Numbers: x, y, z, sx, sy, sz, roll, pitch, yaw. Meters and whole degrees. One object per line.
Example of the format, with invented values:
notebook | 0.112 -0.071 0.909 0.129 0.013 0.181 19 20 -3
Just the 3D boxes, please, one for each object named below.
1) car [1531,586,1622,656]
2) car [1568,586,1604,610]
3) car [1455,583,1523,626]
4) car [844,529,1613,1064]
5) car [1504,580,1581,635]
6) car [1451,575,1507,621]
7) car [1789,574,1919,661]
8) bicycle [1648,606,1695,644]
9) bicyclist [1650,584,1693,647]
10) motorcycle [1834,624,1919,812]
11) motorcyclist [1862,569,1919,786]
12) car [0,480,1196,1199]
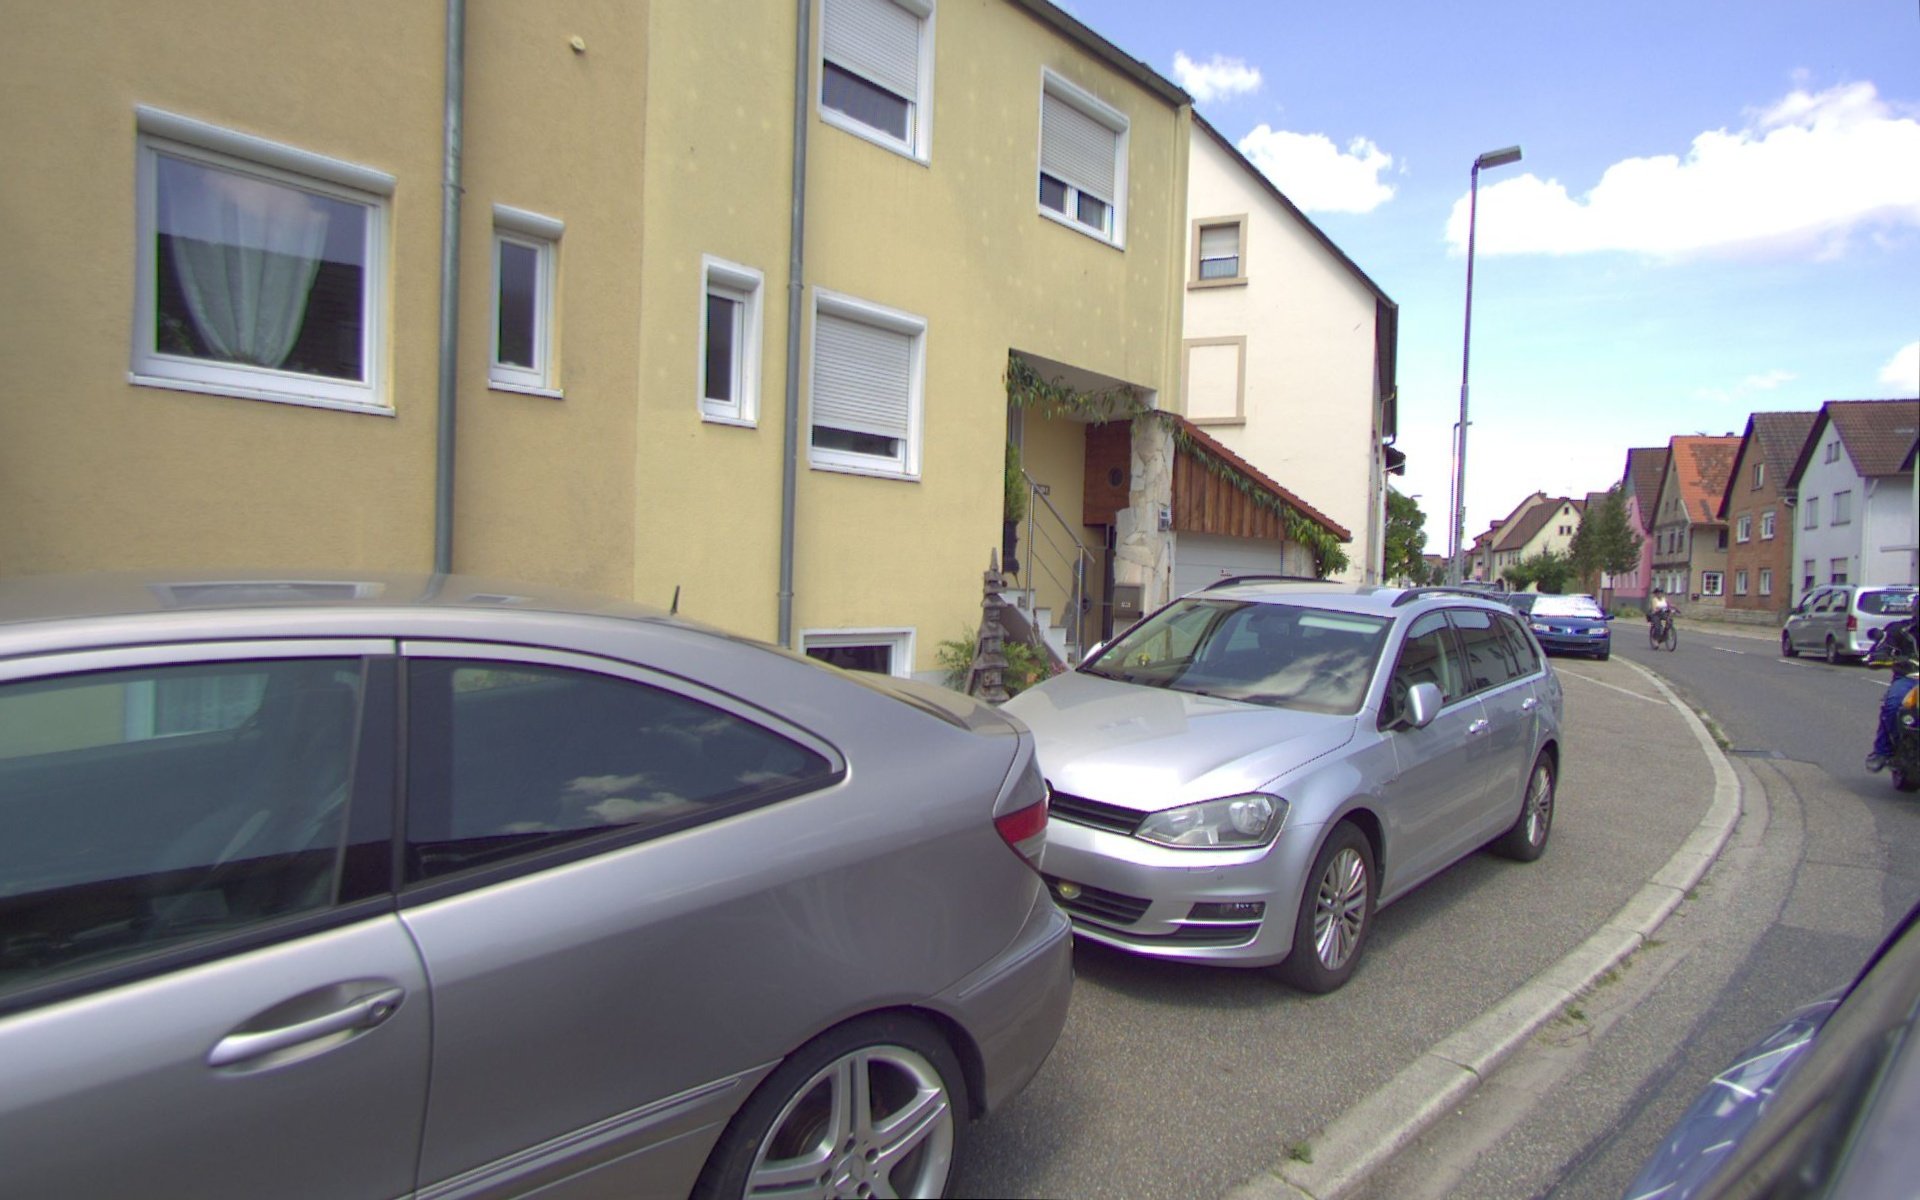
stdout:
car | 14.878 0.437 24.574 1.714 1.402 3.959 3 3 30
car | 42.935 -0.148 69.467 1.667 1.549 3.470 1 2 25
car | 21.526 0.130 41.304 1.642 1.668 3.980 0 1 16
car | 1.688 0.538 5.197 1.887 1.548 4.266 6 4 44
car | 18.060 0.260 31.508 1.756 1.549 3.963 2 -1 26
car | 23.896 -0.147 46.741 1.910 1.939 5.207 0 2 23
car | 21.709 0.327 24.080 1.980 1.822 4.892 1 2 26
bicycle | 20.045 0.695 28.489 0.930 1.024 1.896 1 0 40
bicyclist | 20.015 0.417 28.463 0.906 1.709 0.750 1 2 41
motorcycle | 7.402 0.827 7.531 2.064 1.257 0.985 0 -1 -38
motorcyclist | 7.602 0.579 7.679 0.785 1.619 1.000 -1 2 -38
car | -1.723 0.509 1.690 4.345 1.416 1.776 -1 5 -39
